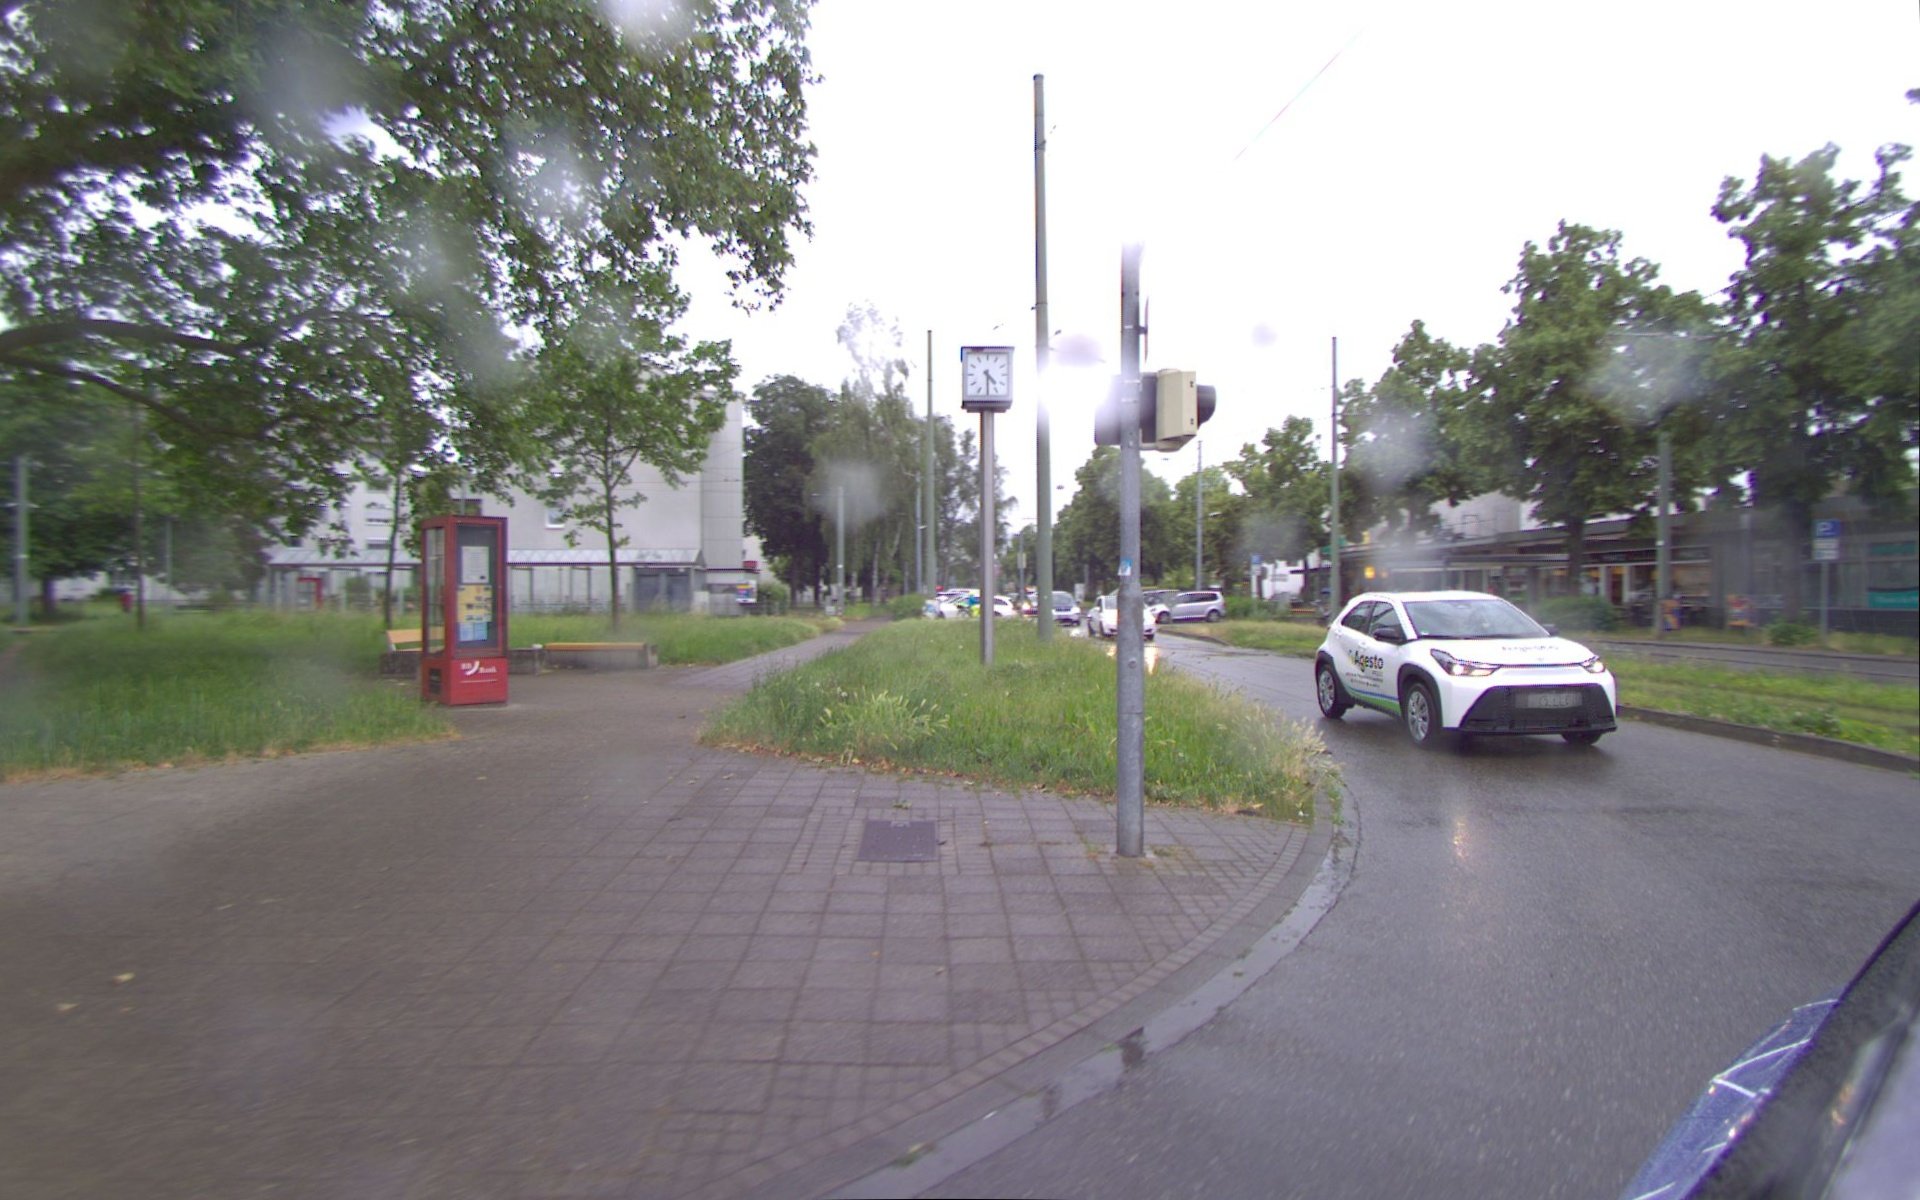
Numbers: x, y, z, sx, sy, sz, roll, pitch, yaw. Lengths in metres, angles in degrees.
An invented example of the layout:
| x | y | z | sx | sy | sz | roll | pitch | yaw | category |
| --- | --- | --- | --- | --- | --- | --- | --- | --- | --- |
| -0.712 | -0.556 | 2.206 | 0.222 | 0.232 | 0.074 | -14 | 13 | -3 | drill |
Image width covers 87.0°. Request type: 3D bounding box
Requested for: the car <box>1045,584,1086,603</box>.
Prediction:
| x | y | z | sx | sy | sz | roll | pitch | yaw | category |
| --- | --- | --- | --- | --- | --- | --- | --- | --- | --- |
| 12.083 | -0.748 | 115.983 | 4.462 | 1.967 | 1.899 | -2 | 0 | -1 | car |

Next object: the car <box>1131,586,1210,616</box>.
| x | y | z | sx | sy | sz | roll | pitch | yaw | category |
| --- | --- | --- | --- | --- | --- | --- | --- | --- | --- |
| 12.016 | 0.048 | 57.897 | 4.013 | 1.591 | 2.000 | -2 | 0 | -1 | car |

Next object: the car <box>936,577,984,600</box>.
| x | y | z | sx | sy | sz | roll | pitch | yaw | category |
| --- | --- | --- | --- | --- | --- | --- | --- | --- | --- |
| -0.001 | -1.068 | 95.076 | 4.462 | 1.967 | 1.899 | -2 | 0 | -1 | car |

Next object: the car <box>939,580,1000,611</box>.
| x | y | z | sx | sy | sz | roll | pitch | yaw | category |
| --- | --- | --- | --- | --- | --- | --- | --- | --- | --- |
| 0.696 | -0.369 | 74.770 | 4.358 | 2.088 | 1.724 | -2 | 0 | -3 | car |

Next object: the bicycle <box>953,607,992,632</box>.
| x | y | z | sx | sy | sz | roll | pitch | yaw | category |
| --- | --- | --- | --- | --- | --- | --- | --- | --- | --- |
| 0.583 | 0.921 | 48.074 | 1.717 | 1.144 | 0.730 | -1 | -1 | -19 | bicycle |

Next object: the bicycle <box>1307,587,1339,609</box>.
| x | y | z | sx | sy | sz | roll | pitch | yaw | category |
| --- | --- | --- | --- | --- | --- | --- | --- | --- | --- |
| 18.300 | -0.109 | 51.060 | 0.581 | 1.086 | 1.754 | 0 | 0 | -18 | bicycle |

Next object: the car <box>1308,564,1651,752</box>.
| x | y | z | sx | sy | sz | roll | pitch | yaw | category |
| --- | --- | --- | --- | --- | --- | --- | --- | --- | --- |
| 5.247 | 0.560 | 10.847 | 1.688 | 1.644 | 3.713 | -1 | -1 | 0 | car |

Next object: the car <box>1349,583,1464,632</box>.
| x | y | z | sx | sy | sz | roll | pitch | yaw | category |
| --- | --- | --- | --- | --- | --- | --- | --- | --- | --- |
| 15.099 | 0.247 | 34.400 | 1.519 | 1.522 | 3.630 | -2 | 1 | -18 | car |

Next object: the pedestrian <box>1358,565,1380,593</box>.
| x | y | z | sx | sy | sz | roll | pitch | yaw | category |
| --- | --- | --- | --- | --- | --- | --- | --- | --- | --- |
| 25.399 | -1.312 | 62.853 | 1.063 | 1.735 | 0.945 | 0 | 1 | 11 | pedestrian |

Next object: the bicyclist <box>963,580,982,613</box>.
| x | y | z | sx | sy | sz | roll | pitch | yaw | category |
| --- | --- | --- | --- | --- | --- | --- | --- | --- | --- |
| 0.589 | -0.146 | 48.113 | 0.684 | 1.536 | 0.726 | -1 | -1 | -19 | bicyclist |

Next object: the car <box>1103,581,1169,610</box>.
| x | y | z | sx | sy | sz | roll | pitch | yaw | category |
| --- | --- | --- | --- | --- | --- | --- | --- | --- | --- |
| 13.066 | -0.352 | 75.176 | 4.462 | 1.967 | 1.899 | -2 | 0 | -1 | car |

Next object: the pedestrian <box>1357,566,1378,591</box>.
| x | y | z | sx | sy | sz | roll | pitch | yaw | category |
| --- | --- | --- | --- | --- | --- | --- | --- | --- | --- |
| 25.728 | -1.366 | 63.880 | 1.063 | 1.603 | 0.945 | 0 | 1 | 11 | pedestrian |

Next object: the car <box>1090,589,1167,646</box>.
| x | y | z | sx | sy | sz | roll | pitch | yaw | category |
| --- | --- | --- | --- | --- | --- | --- | --- | --- | --- |
| 5.361 | 0.496 | 32.715 | 1.927 | 1.572 | 4.000 | -1 | 2 | 2 | car |

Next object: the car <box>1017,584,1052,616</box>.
| x | y | z | sx | sy | sz | roll | pitch | yaw | category |
| --- | --- | --- | --- | --- | --- | --- | --- | --- | --- |
| 5.039 | -0.049 | 69.017 | 1.962 | 2.039 | 4.000 | -3 | 1 | 0 | car |

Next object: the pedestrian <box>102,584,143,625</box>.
| x | y | z | sx | sy | sz | roll | pitch | yaw | category |
| --- | --- | --- | --- | --- | --- | --- | --- | --- | --- |
| -40.362 | 0.231 | 48.801 | 1.044 | 1.907 | 1.179 | -2 | 0 | 28 | pedestrian |

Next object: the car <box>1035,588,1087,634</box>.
| x | y | z | sx | sy | sz | roll | pitch | yaw | category |
| --- | --- | --- | --- | --- | --- | --- | --- | --- | --- |
| 4.853 | 0.491 | 49.039 | 1.961 | 2.039 | 4.001 | -2 | 1 | -1 | car |

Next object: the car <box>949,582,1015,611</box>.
| x | y | z | sx | sy | sz | roll | pitch | yaw | category |
| --- | --- | --- | --- | --- | --- | --- | --- | --- | --- |
| 1.340 | -0.241 | 61.901 | 3.925 | 1.605 | 1.722 | -2 | 0 | 1 | car |

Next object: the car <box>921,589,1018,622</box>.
| x | y | z | sx | sy | sz | roll | pitch | yaw | category |
| --- | --- | --- | --- | --- | --- | --- | --- | --- | --- |
| 0.477 | 0.265 | 50.591 | 4.751 | 1.476 | 1.999 | 1 | 0 | 1 | car |

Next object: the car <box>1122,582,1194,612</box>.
| x | y | z | sx | sy | sz | roll | pitch | yaw | category |
| --- | --- | --- | --- | --- | --- | --- | --- | --- | --- |
| 12.312 | -0.163 | 63.018 | 4.013 | 1.731 | 1.899 | -2 | 0 | -1 | car |

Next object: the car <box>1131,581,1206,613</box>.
| x | y | z | sx | sy | sz | roll | pitch | yaw | category |
| --- | --- | --- | --- | --- | --- | --- | --- | --- | --- |
| 12.395 | -0.186 | 60.265 | 4.013 | 1.731 | 1.899 | -2 | 0 | -1 | car |

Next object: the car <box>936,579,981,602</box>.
| x | y | z | sx | sy | sz | roll | pitch | yaw | category |
| --- | --- | --- | --- | --- | --- | --- | --- | --- | --- |
| -0.152 | -0.943 | 101.391 | 4.358 | 2.088 | 1.724 | -2 | 0 | -3 | car |

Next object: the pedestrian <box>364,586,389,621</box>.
| x | y | z | sx | sy | sz | roll | pitch | yaw | category |
| --- | --- | --- | --- | --- | --- | --- | --- | --- | --- |
| -26.720 | 0.160 | 46.340 | 0.624 | 1.592 | 0.790 | -2 | 0 | -1 | pedestrian |

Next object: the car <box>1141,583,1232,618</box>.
| x | y | z | sx | sy | sz | roll | pitch | yaw | category |
| --- | --- | --- | --- | --- | --- | --- | --- | --- | --- |
| 11.924 | 0.025 | 53.509 | 4.254 | 1.695 | 2.000 | -2 | 0 | -1 | car |

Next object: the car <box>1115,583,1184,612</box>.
| x | y | z | sx | sy | sz | roll | pitch | yaw | category |
| --- | --- | --- | --- | --- | --- | --- | --- | --- | --- |
| 12.354 | -0.174 | 66.119 | 4.013 | 1.731 | 1.899 | -2 | 0 | -1 | car |

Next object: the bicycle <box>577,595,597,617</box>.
| x | y | z | sx | sy | sz | roll | pitch | yaw | category |
| --- | --- | --- | --- | --- | --- | --- | --- | --- | --- |
| -16.630 | 0.257 | 45.115 | 0.370 | 0.968 | 1.237 | -2 | 0 | 3 | bicycle |

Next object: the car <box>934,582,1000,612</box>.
| x | y | z | sx | sy | sz | roll | pitch | yaw | category |
| --- | --- | --- | --- | --- | --- | --- | --- | --- | --- |
| 0.494 | -0.218 | 69.204 | 4.362 | 1.869 | 1.722 | -2 | 0 | 1 | car |
